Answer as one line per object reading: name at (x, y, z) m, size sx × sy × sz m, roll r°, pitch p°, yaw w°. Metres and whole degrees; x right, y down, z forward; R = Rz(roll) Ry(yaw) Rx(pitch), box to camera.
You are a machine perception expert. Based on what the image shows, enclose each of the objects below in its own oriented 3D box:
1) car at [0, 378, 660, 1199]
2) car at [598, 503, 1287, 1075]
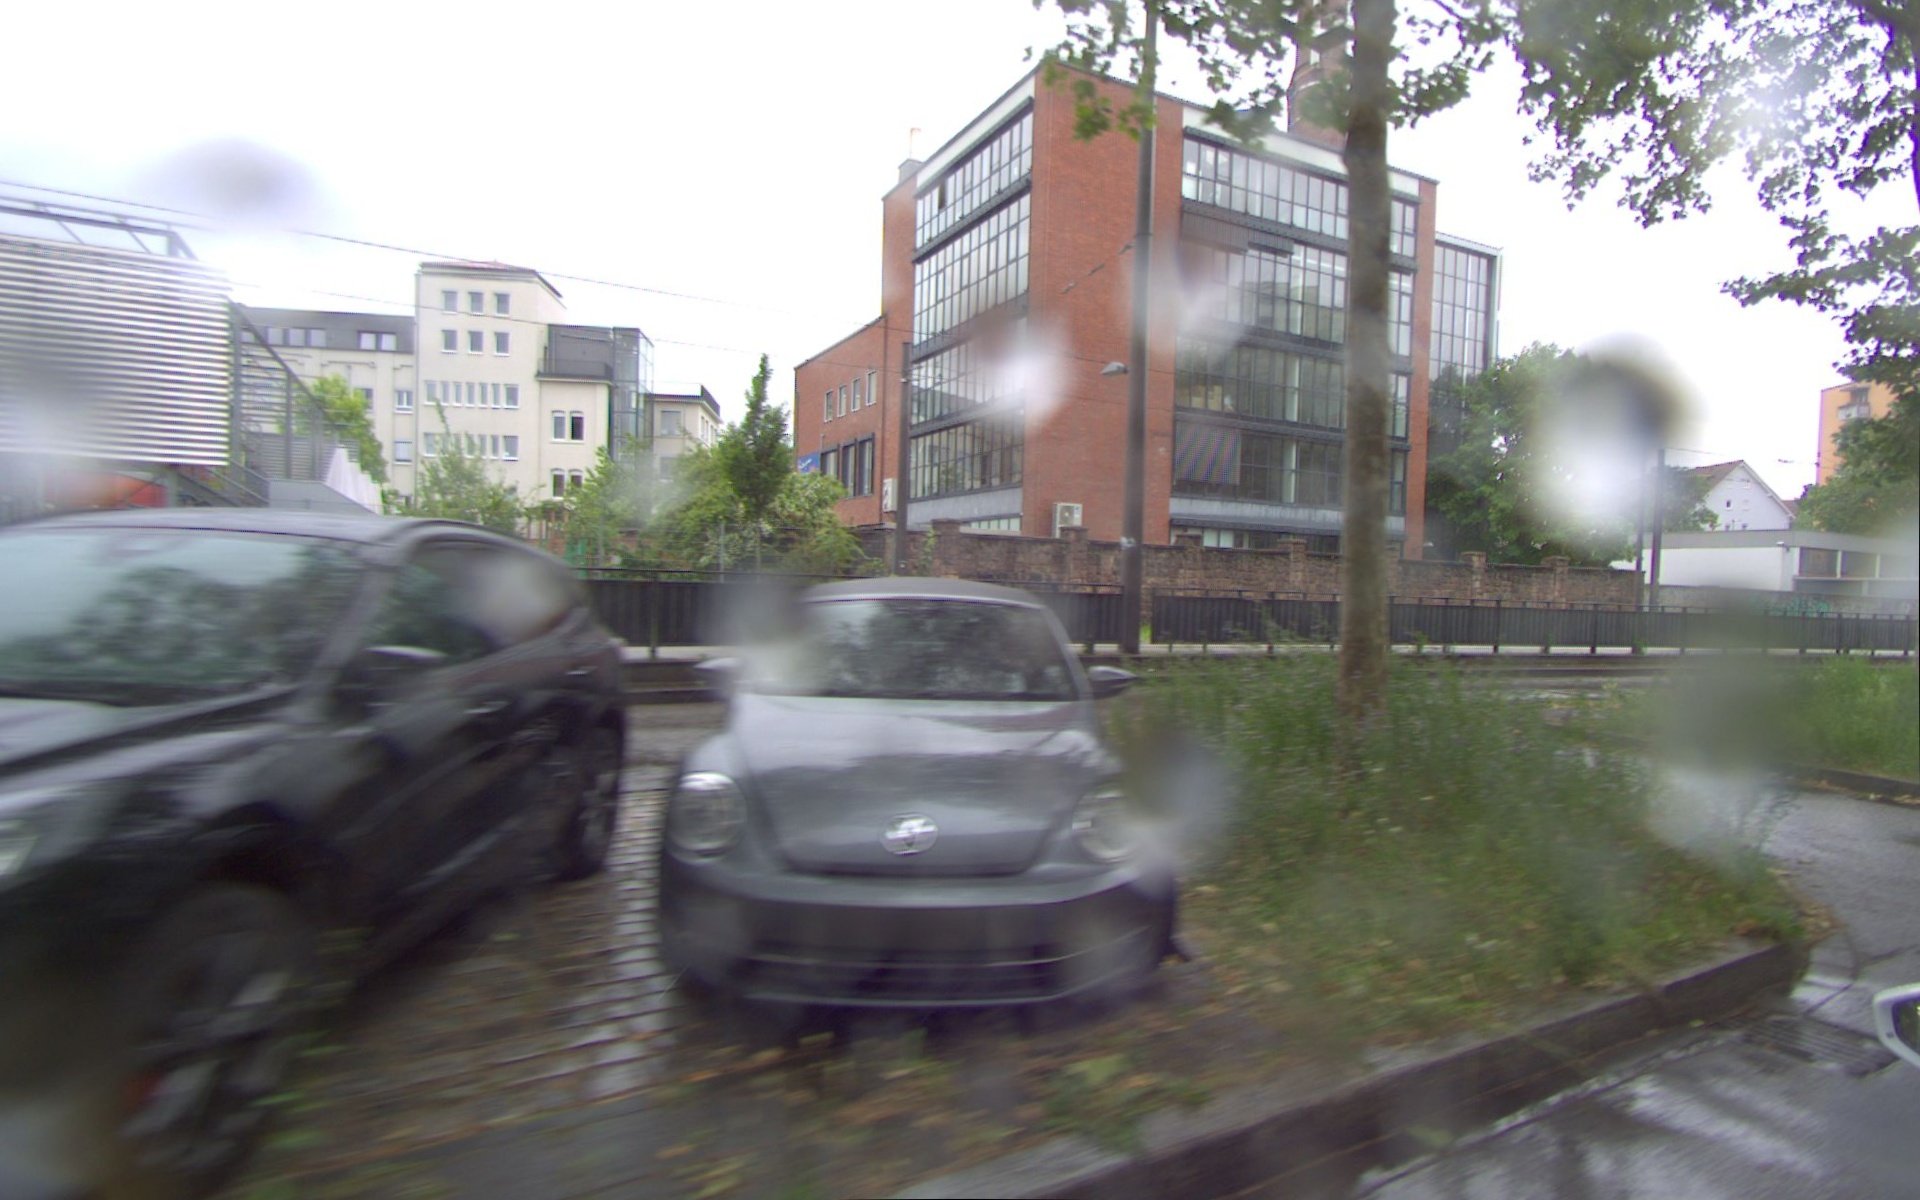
car at (-2.494, 0.432, 3.415) m, size 1.714 × 1.632 × 4.230 m, roll 2°, pitch 0°, yaw -1°
car at (-0.085, 0.548, 4.937) m, size 1.893 × 1.562 × 4.230 m, roll 2°, pitch 0°, yaw -1°
